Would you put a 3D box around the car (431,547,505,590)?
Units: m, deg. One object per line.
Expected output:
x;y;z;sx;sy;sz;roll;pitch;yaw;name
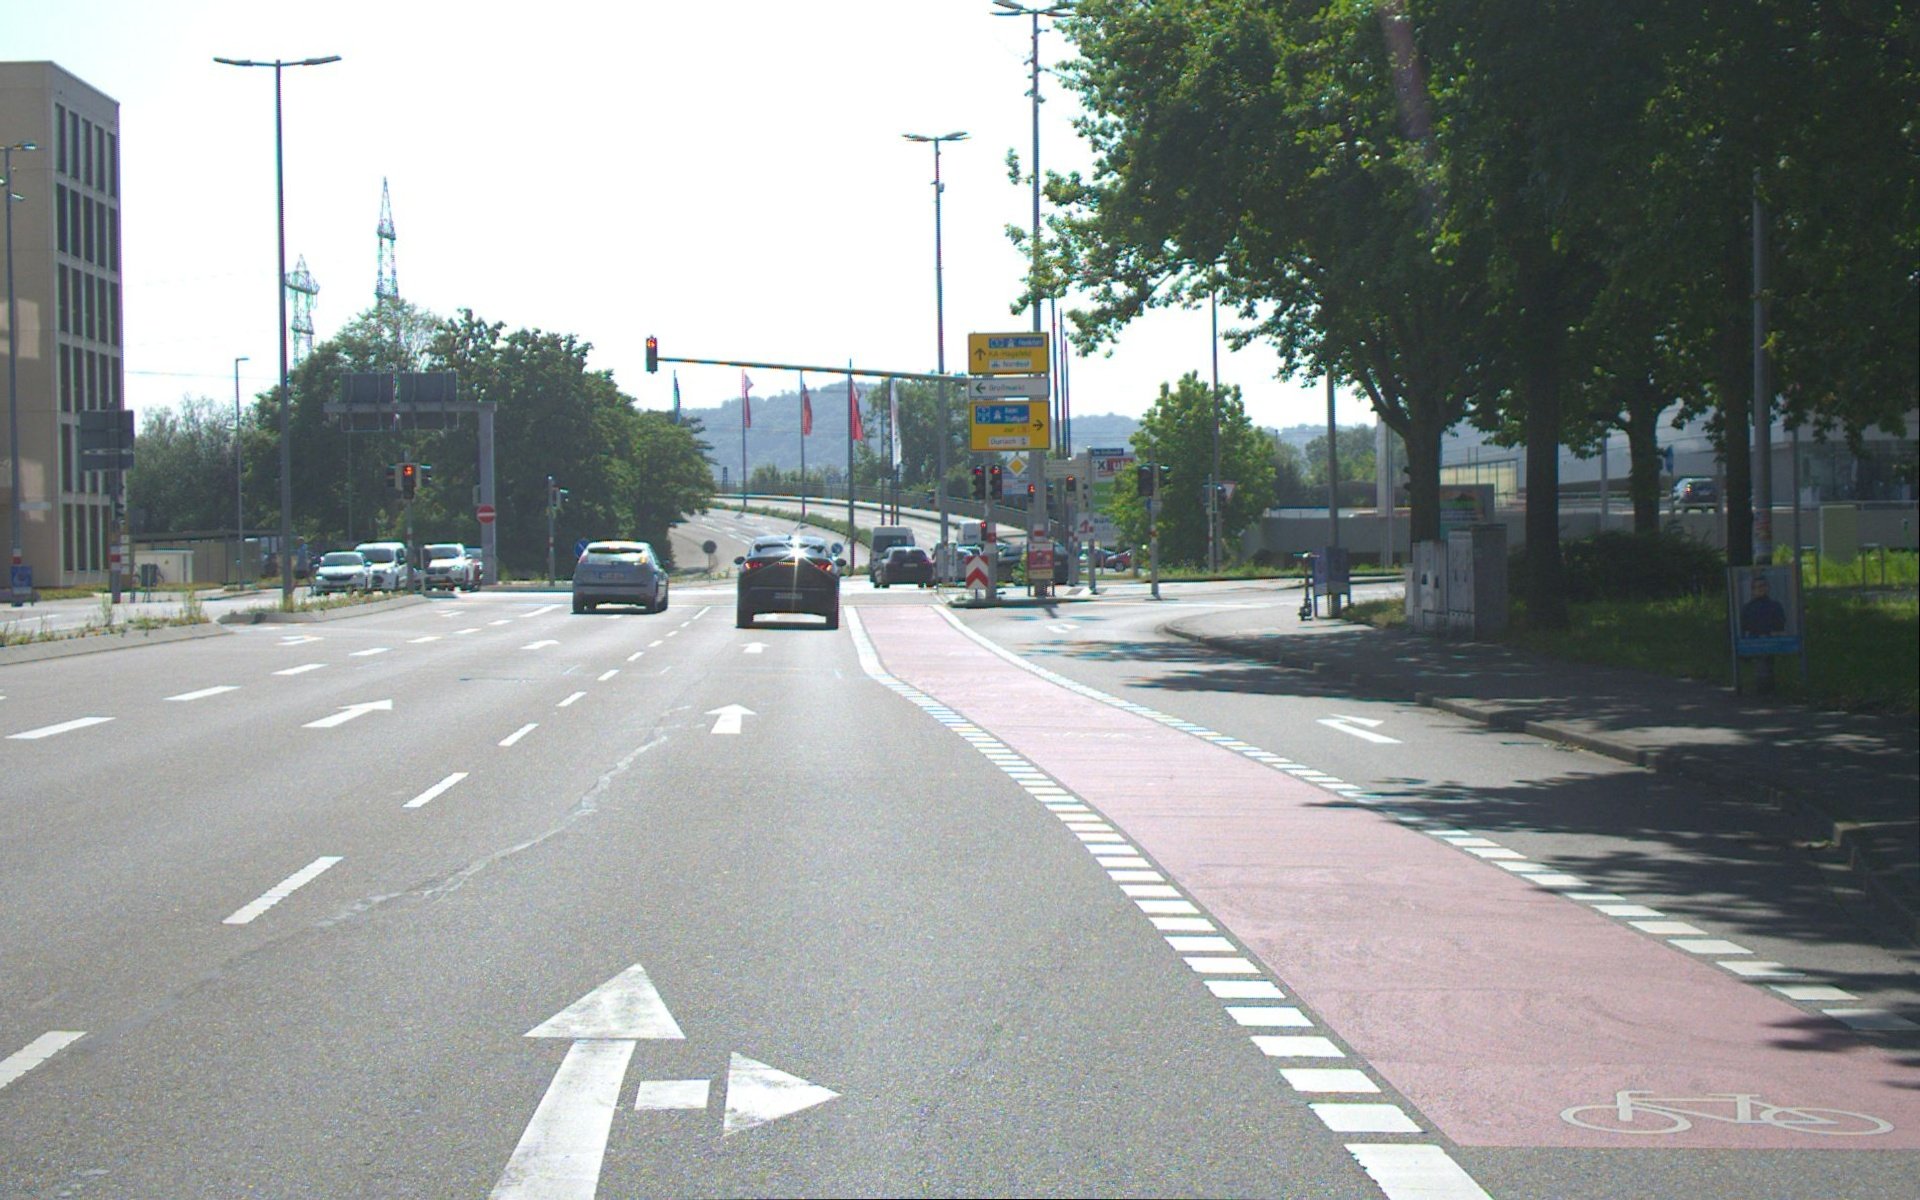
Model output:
-17.389;-1.116;121.690;1.816;1.459;4.000;-1;1;3;car

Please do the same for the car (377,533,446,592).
-13.350;-0.934;83.712;1.215;1.326;2.800;1;2;0;car

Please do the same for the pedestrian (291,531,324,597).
-20.184;-1.123;106.369;0.756;2.006;0.934;0;2;-27;pedestrian

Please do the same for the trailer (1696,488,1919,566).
31.405;-2.458;117.715;11.872;2.460;2.000;2;2;2;trailer

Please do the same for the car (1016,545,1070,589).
2.779;-1.128;116.163;1.689;1.354;4.001;1;2;0;car

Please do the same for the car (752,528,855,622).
-2.855;-0.487;63.470;1.807;1.634;4.459;-1;1;-2;car

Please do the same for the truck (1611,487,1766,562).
24.977;-2.602;117.973;4.881;2.415;2.000;2;2;2;truck

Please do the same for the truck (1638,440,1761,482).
38.557;-7.248;179.394;5.909;2.006;2.000;1;2;1;truck

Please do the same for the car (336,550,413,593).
-20.583;-1.012;120.959;1.816;1.459;4.000;-1;1;3;car

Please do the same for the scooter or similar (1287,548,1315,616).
6.275;-0.339;63.328;0.351;1.229;1.310;-1;1;12;scooter or similar

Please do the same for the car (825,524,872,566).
-5.684;-2.794;174.923;1.994;2.006;4.000;2;2;3;car

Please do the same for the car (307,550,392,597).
-20.137;-0.878;113.474;1.892;1.459;4.000;-1;1;3;car

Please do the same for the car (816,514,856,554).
-6.571;-3.502;182.660;1.993;2.006;3.981;1;2;-1;car

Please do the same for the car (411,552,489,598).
-17.000;-0.855;114.725;1.816;1.459;4.000;-1;1;3;car

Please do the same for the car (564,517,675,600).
-7.210;-0.903;73.119;1.993;1.678;4.000;-1;1;-1;car

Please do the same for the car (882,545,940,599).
-1.742;-1.009;120.983;1.757;1.752;3.604;1;2;-5;car
